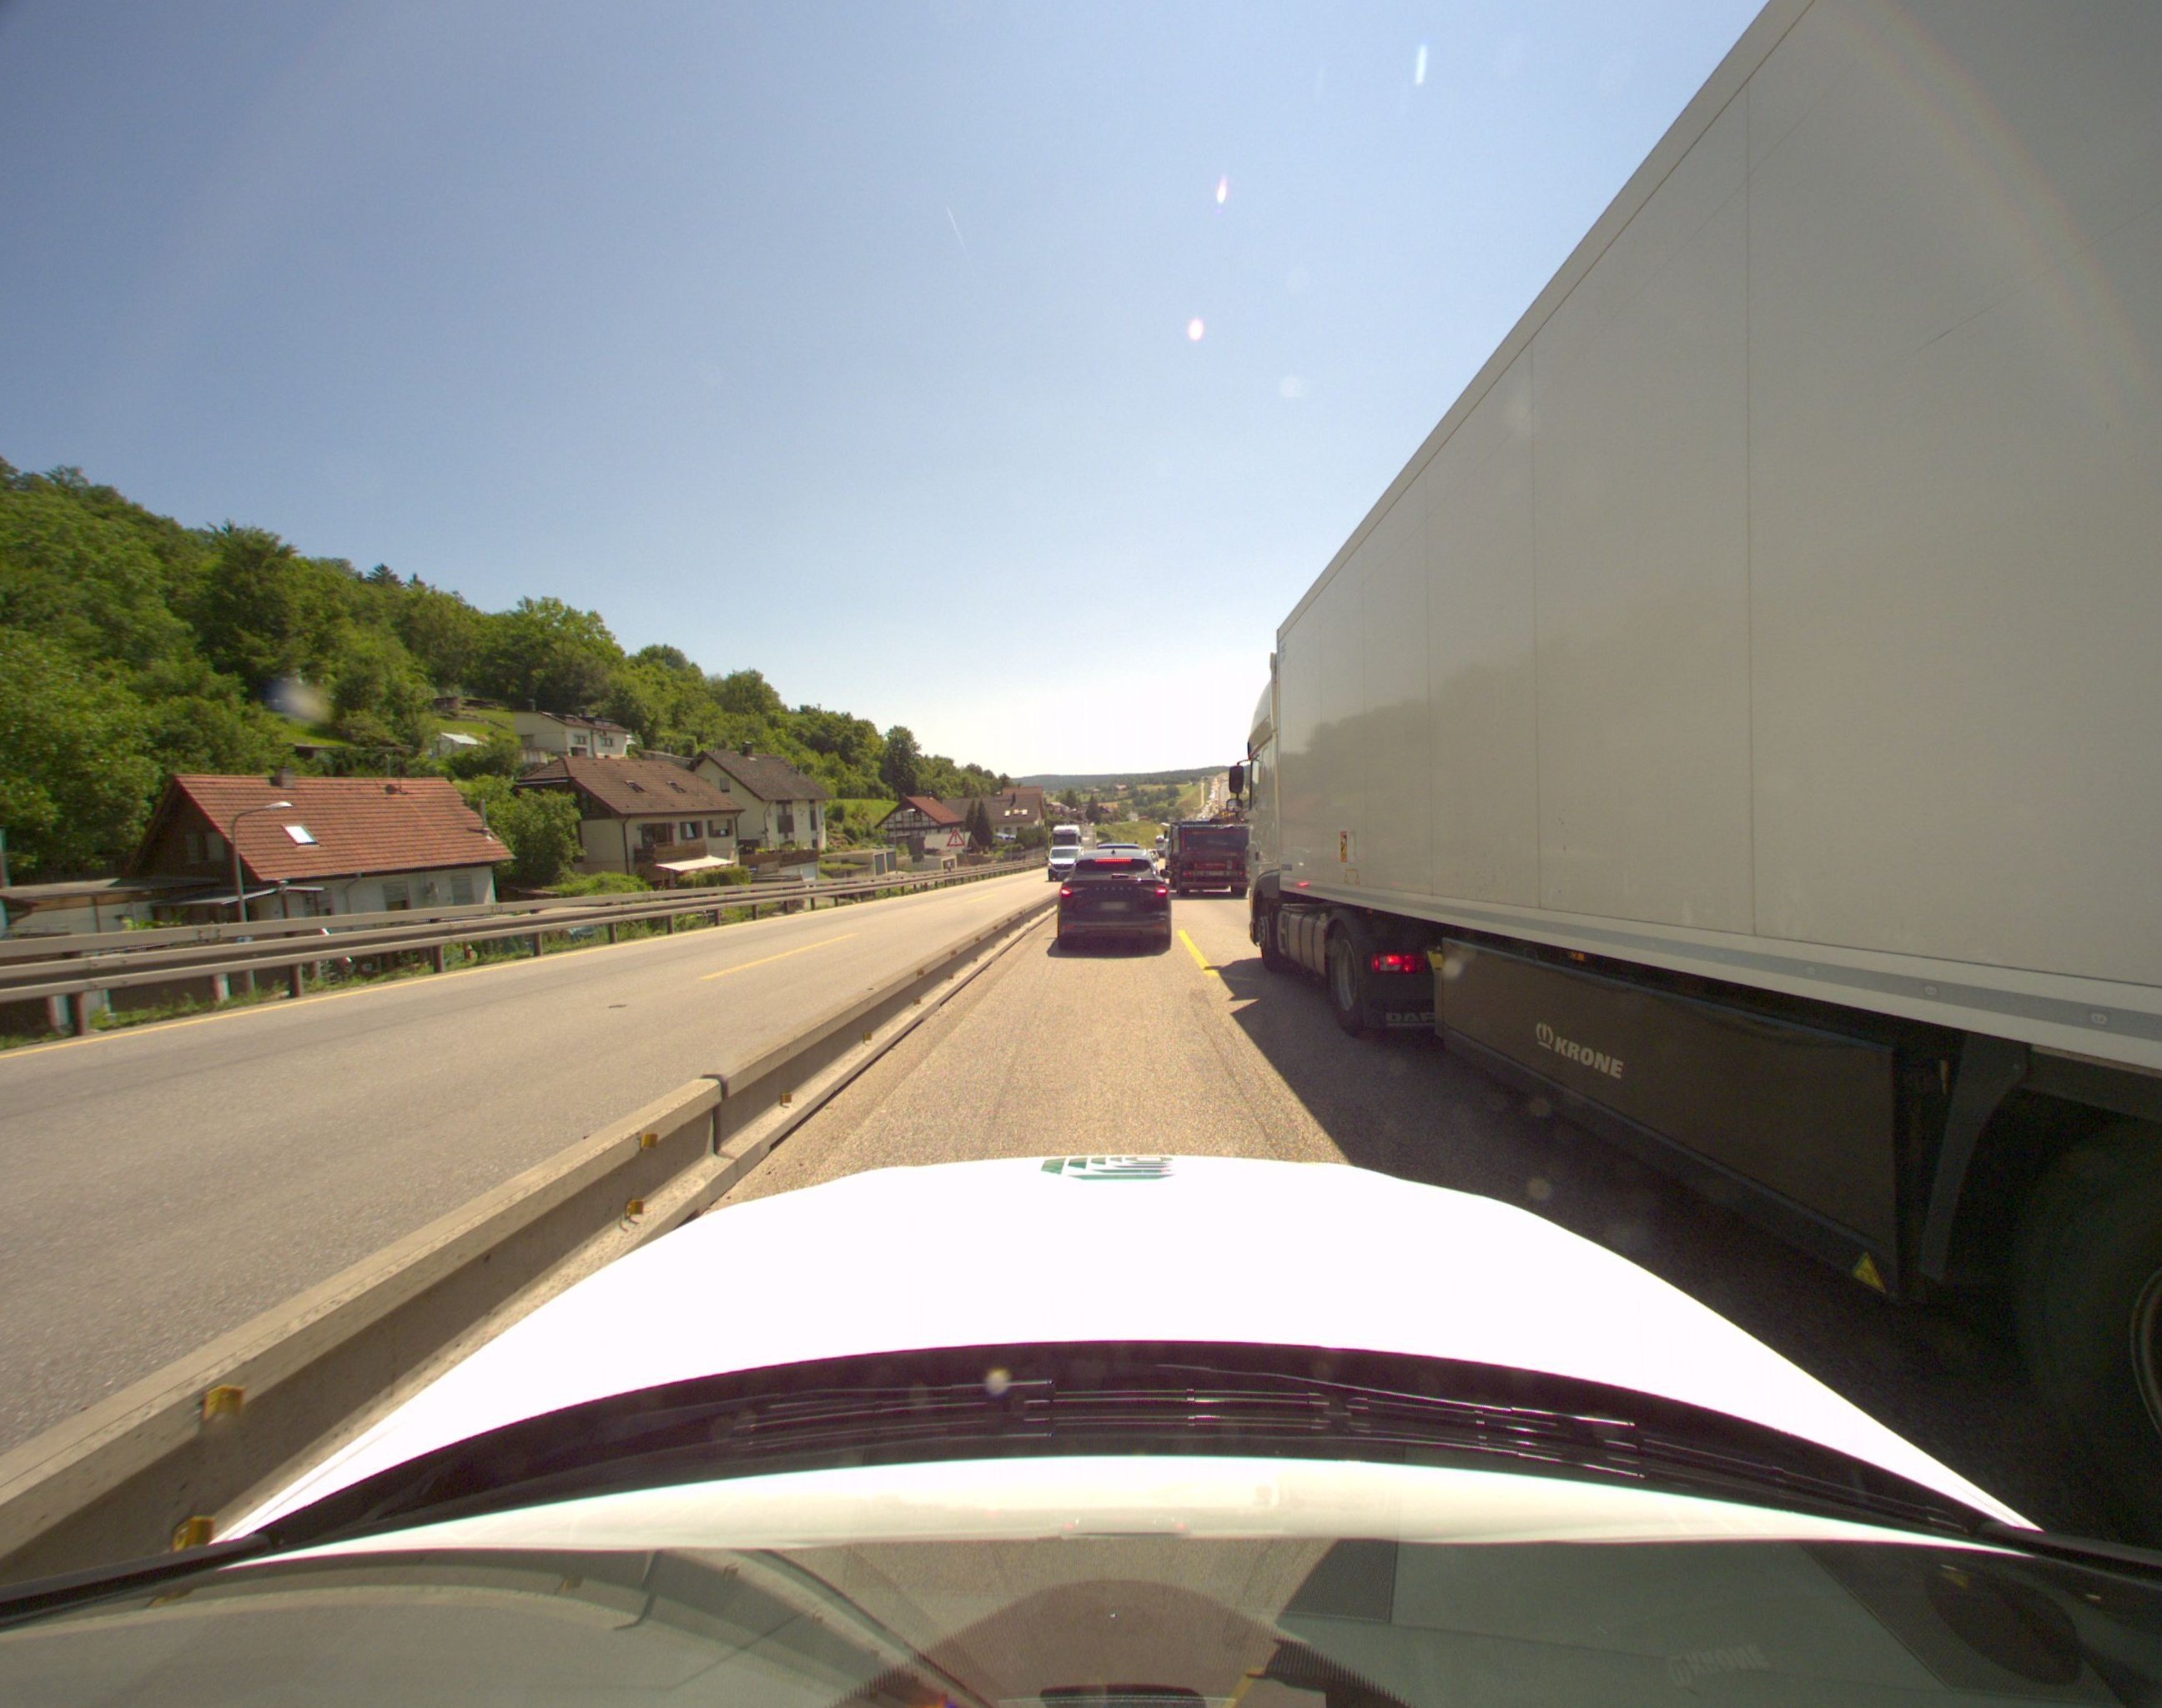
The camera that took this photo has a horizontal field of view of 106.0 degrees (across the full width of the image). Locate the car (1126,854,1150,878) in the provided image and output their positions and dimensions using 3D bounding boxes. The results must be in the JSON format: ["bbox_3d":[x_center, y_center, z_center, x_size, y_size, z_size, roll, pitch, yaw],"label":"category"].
[{"bbox_3d":[4.202,0.815,59.630,1.699,1.622,4.005,0,1,4],"label":"car"}]

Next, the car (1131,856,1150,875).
[{"bbox_3d":[5.541,1.068,75.289,1.699,1.622,4.005,0,1,4],"label":"car"}]

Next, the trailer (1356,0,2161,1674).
[{"bbox_3d":[3.092,-0.653,0.230,2.522,4.127,11.553,0,-1,2],"label":"trailer"}]

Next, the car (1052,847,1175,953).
[{"bbox_3d":[0.519,0.700,14.111,1.836,1.586,3.908,0,-1,1],"label":"car"}]

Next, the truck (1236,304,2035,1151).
[{"bbox_3d":[3.399,-0.578,8.004,2.503,4.025,8.242,0,-1,2],"label":"truck"}]

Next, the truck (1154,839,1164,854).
[{"bbox_3d":[22.639,-2.180,235.924,2.737,4.283,4.968,0,0,8],"label":"truck"}]

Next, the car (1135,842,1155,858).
[{"bbox_3d":[6.782,-0.383,86.148,1.984,1.585,3.842,0,-1,5],"label":"car"}]

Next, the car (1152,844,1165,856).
[{"bbox_3d":[11.231,-0.521,117.748,1.691,1.728,3.846,0,-1,9],"label":"car"}]

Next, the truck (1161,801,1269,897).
[{"bbox_3d":[5.083,-0.109,33.469,3.181,3.191,12.822,0,-1,4],"label":"truck"}]

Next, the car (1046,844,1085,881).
[{"bbox_3d":[-0.855,0.508,48.121,1.986,2.011,4.860,-2,-1,2],"label":"car"}]

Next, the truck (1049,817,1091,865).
[{"bbox_3d":[-0.935,-1.137,78.641,3.288,4.362,8.312,0,-1,5],"label":"truck"}]

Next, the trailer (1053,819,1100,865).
[{"bbox_3d":[-0.262,-1.079,84.840,3.235,4.378,14.082,0,-1,6],"label":"trailer"}]

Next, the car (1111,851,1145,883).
[{"bbox_3d":[2.570,0.676,44.854,1.701,1.622,4.001,0,1,1],"label":"car"}]

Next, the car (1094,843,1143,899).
[{"bbox_3d":[1.317,0.548,29.805,1.701,1.881,4.001,0,1,1],"label":"car"}]

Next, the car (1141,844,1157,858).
[{"bbox_3d":[8.383,-0.339,99.981,1.984,1.585,3.842,0,-1,5],"label":"car"}]
